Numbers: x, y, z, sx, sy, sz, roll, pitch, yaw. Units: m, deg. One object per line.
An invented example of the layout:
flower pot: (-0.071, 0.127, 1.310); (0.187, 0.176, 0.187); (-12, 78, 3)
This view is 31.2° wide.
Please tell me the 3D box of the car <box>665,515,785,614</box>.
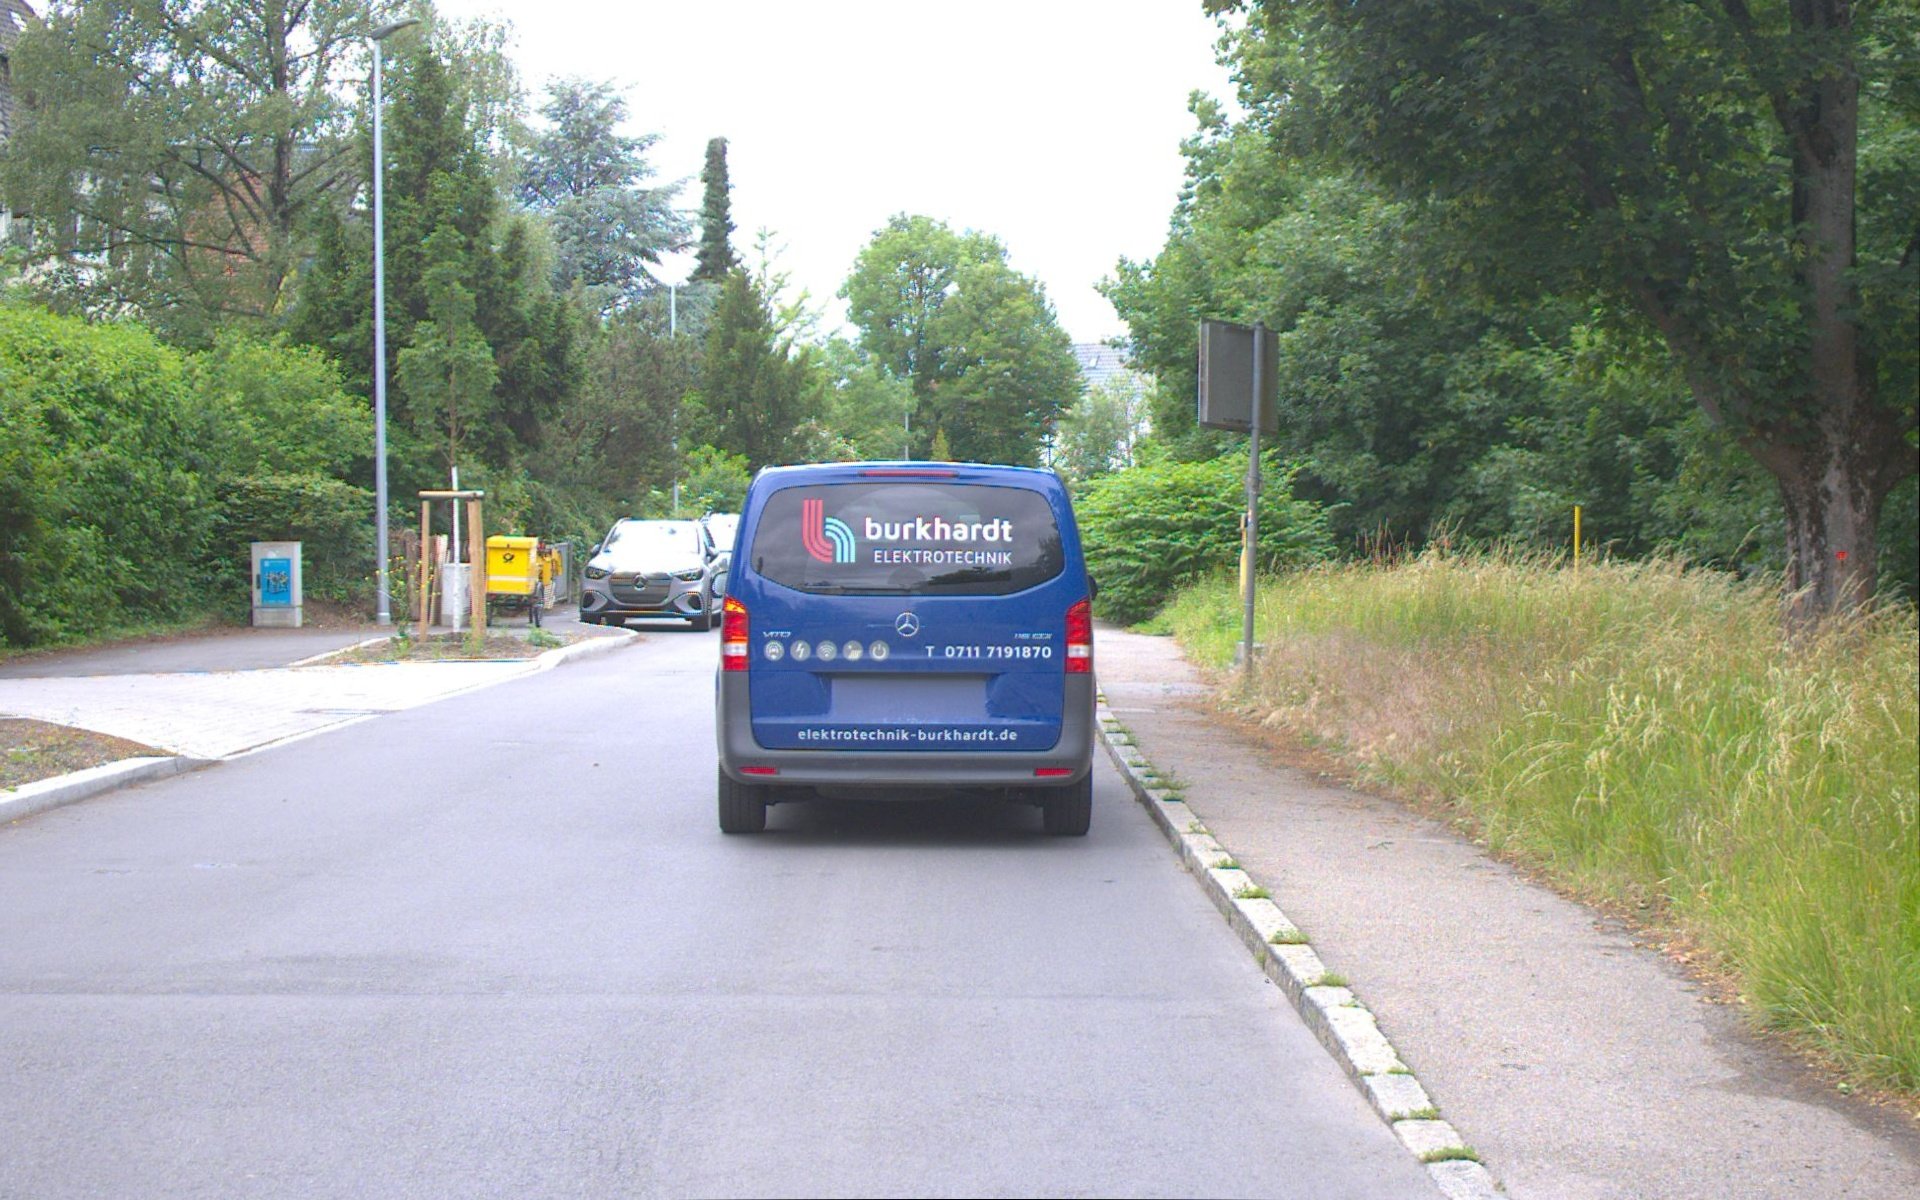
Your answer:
car: (-4.374, -0.698, 64.417); (1.832, 1.745, 4.000); (1, 2, 1)

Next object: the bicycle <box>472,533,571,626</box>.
bicycle: (-6.180, -0.305, 48.621); (0.906, 1.247, 2.916); (2, 1, 1)

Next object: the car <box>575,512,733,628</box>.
car: (-4.538, -0.471, 51.516); (1.836, 1.625, 4.300); (1, 1, 1)

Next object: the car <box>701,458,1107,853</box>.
car: (-0.361, 0.186, 18.245); (1.888, 1.837, 4.001); (1, 2, -3)

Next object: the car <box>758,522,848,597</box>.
car: (-3.898, -1.032, 86.055); (1.892, 1.686, 4.549); (1, 3, 1)

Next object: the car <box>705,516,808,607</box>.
car: (-4.147, -0.785, 70.580); (1.831, 1.798, 4.000); (1, 0, 0)
